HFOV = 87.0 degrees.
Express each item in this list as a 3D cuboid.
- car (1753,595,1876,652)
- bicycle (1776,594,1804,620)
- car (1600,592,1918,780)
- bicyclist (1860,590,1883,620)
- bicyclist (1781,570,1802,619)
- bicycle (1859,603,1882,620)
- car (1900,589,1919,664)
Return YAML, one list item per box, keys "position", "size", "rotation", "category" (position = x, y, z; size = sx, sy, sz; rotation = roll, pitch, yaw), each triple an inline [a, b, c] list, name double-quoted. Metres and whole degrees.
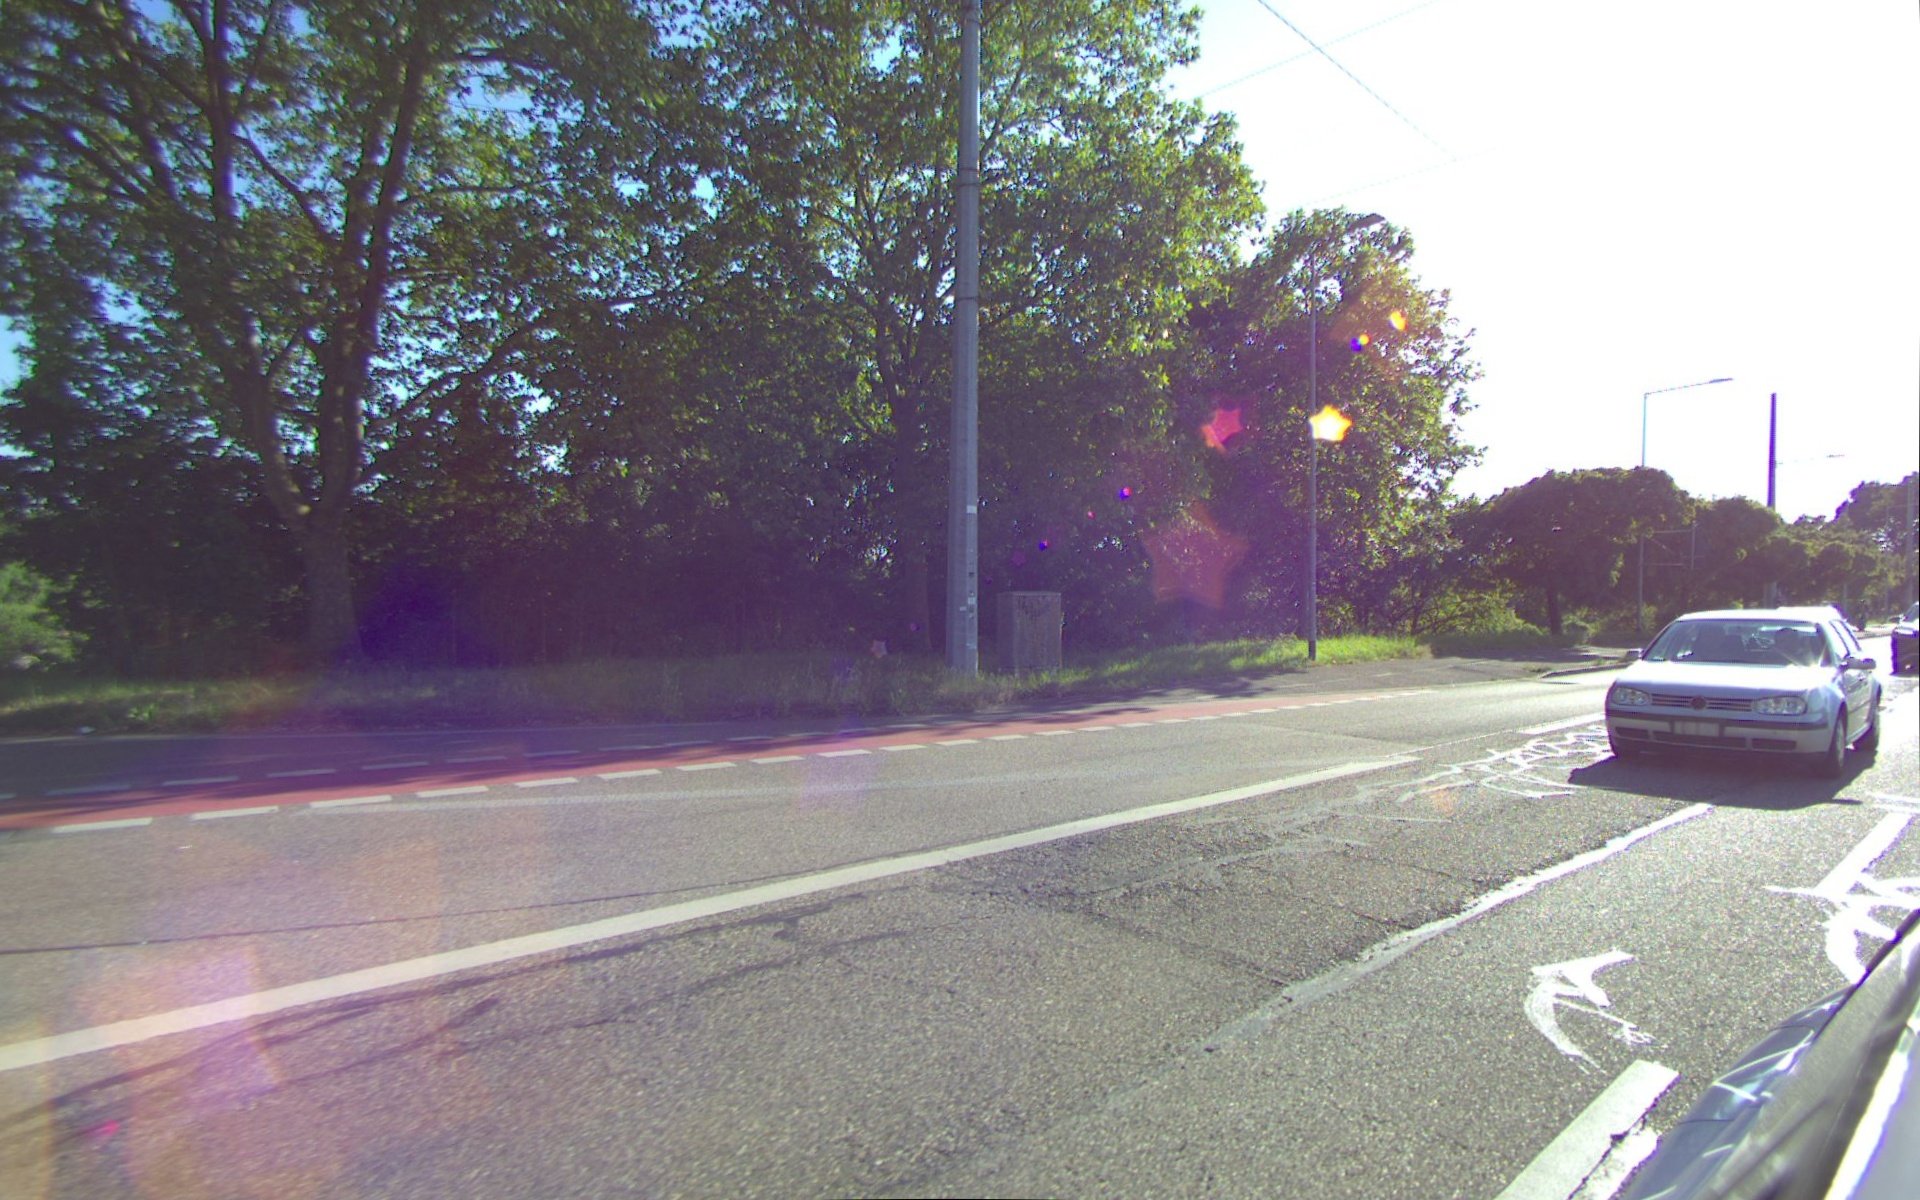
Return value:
- position: [24.800, 0.625, 29.319]
  size: [4.575, 1.461, 1.881]
  rotation: [-1, 1, -38]
  category: "car"
- position: [34.716, 0.289, 42.338]
  size: [1.936, 1.074, 0.528]
  rotation: [0, -1, -39]
  category: "bicycle"
- position: [7.966, 0.670, 9.971]
  size: [3.930, 1.463, 1.694]
  rotation: [-1, 1, -40]
  category: "car"
- position: [48.209, 0.264, 53.511]
  size: [1.041, 1.488, 0.629]
  rotation: [0, 4, -38]
  category: "bicyclist"
- position: [34.957, -0.242, 42.550]
  size: [0.716, 2.043, 0.528]
  rotation: [0, -1, -39]
  category: "bicyclist"
- position: [48.126, 0.605, 53.481]
  size: [1.605, 0.844, 0.629]
  rotation: [-1, 5, -39]
  category: "bicycle"
- position: [23.008, 0.564, 22.968]
  size: [4.338, 1.620, 1.881]
  rotation: [-1, 1, -39]
  category: "car"
